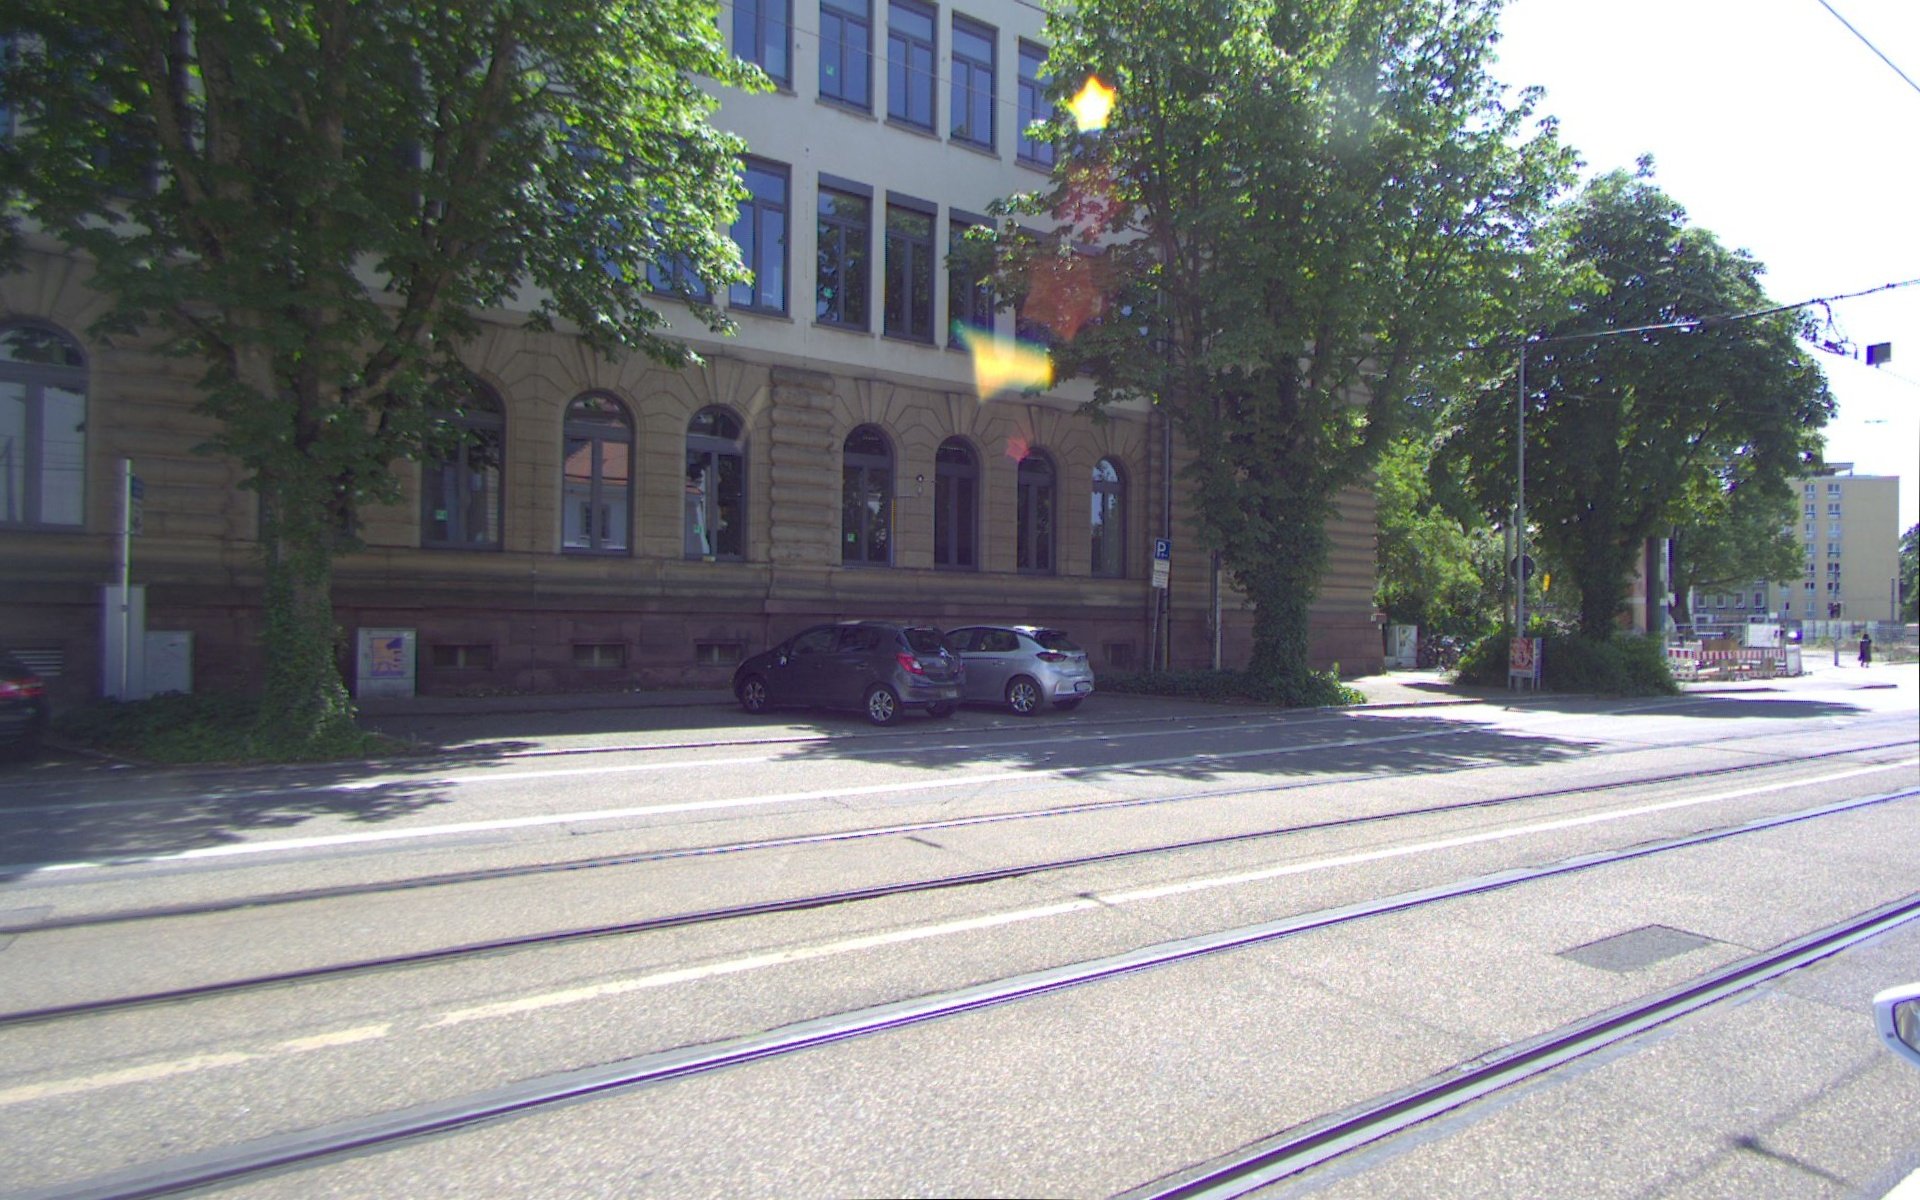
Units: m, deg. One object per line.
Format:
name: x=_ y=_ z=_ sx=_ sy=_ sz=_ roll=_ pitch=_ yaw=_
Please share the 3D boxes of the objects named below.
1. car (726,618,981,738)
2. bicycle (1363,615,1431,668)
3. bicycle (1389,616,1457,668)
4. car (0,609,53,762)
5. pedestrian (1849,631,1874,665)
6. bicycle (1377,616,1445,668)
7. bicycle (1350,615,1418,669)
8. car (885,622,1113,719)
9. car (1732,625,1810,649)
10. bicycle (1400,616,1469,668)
car: x=-1.673 y=1.113 z=15.471 sx=3.612 sy=1.540 sz=1.666 roll=2 pitch=0 yaw=31
bicycle: x=14.750 y=1.393 z=33.951 sx=0.545 sy=1.714 sz=2.314 roll=2 pitch=-1 yaw=-25
bicycle: x=15.859 y=1.409 z=34.487 sx=0.545 sy=1.714 sz=2.314 roll=2 pitch=-1 yaw=-25
car: x=-10.558 y=0.782 z=9.777 sx=3.867 sy=1.392 sz=1.665 roll=-1 pitch=-2 yaw=34
pedestrian: x=44.202 y=2.354 z=49.259 sx=0.813 sy=1.623 sz=0.605 roll=1 pitch=-1 yaw=-21
bicycle: x=15.327 y=1.408 z=34.210 sx=0.545 sy=1.714 sz=2.314 roll=2 pitch=-1 yaw=-25
bicycle: x=14.204 y=1.379 z=33.687 sx=0.545 sy=1.714 sz=2.314 roll=2 pitch=-1 yaw=-25
car: x=0.648 y=1.133 z=17.109 sx=3.487 sy=1.424 sz=1.699 roll=1 pitch=-1 yaw=31
car: x=59.260 y=2.702 z=73.483 sx=1.823 sy=1.671 sz=4.179 roll=1 pitch=-1 yaw=-19
bicycle: x=16.389 y=1.435 z=34.768 sx=0.545 sy=1.714 sz=2.314 roll=2 pitch=-1 yaw=-25
